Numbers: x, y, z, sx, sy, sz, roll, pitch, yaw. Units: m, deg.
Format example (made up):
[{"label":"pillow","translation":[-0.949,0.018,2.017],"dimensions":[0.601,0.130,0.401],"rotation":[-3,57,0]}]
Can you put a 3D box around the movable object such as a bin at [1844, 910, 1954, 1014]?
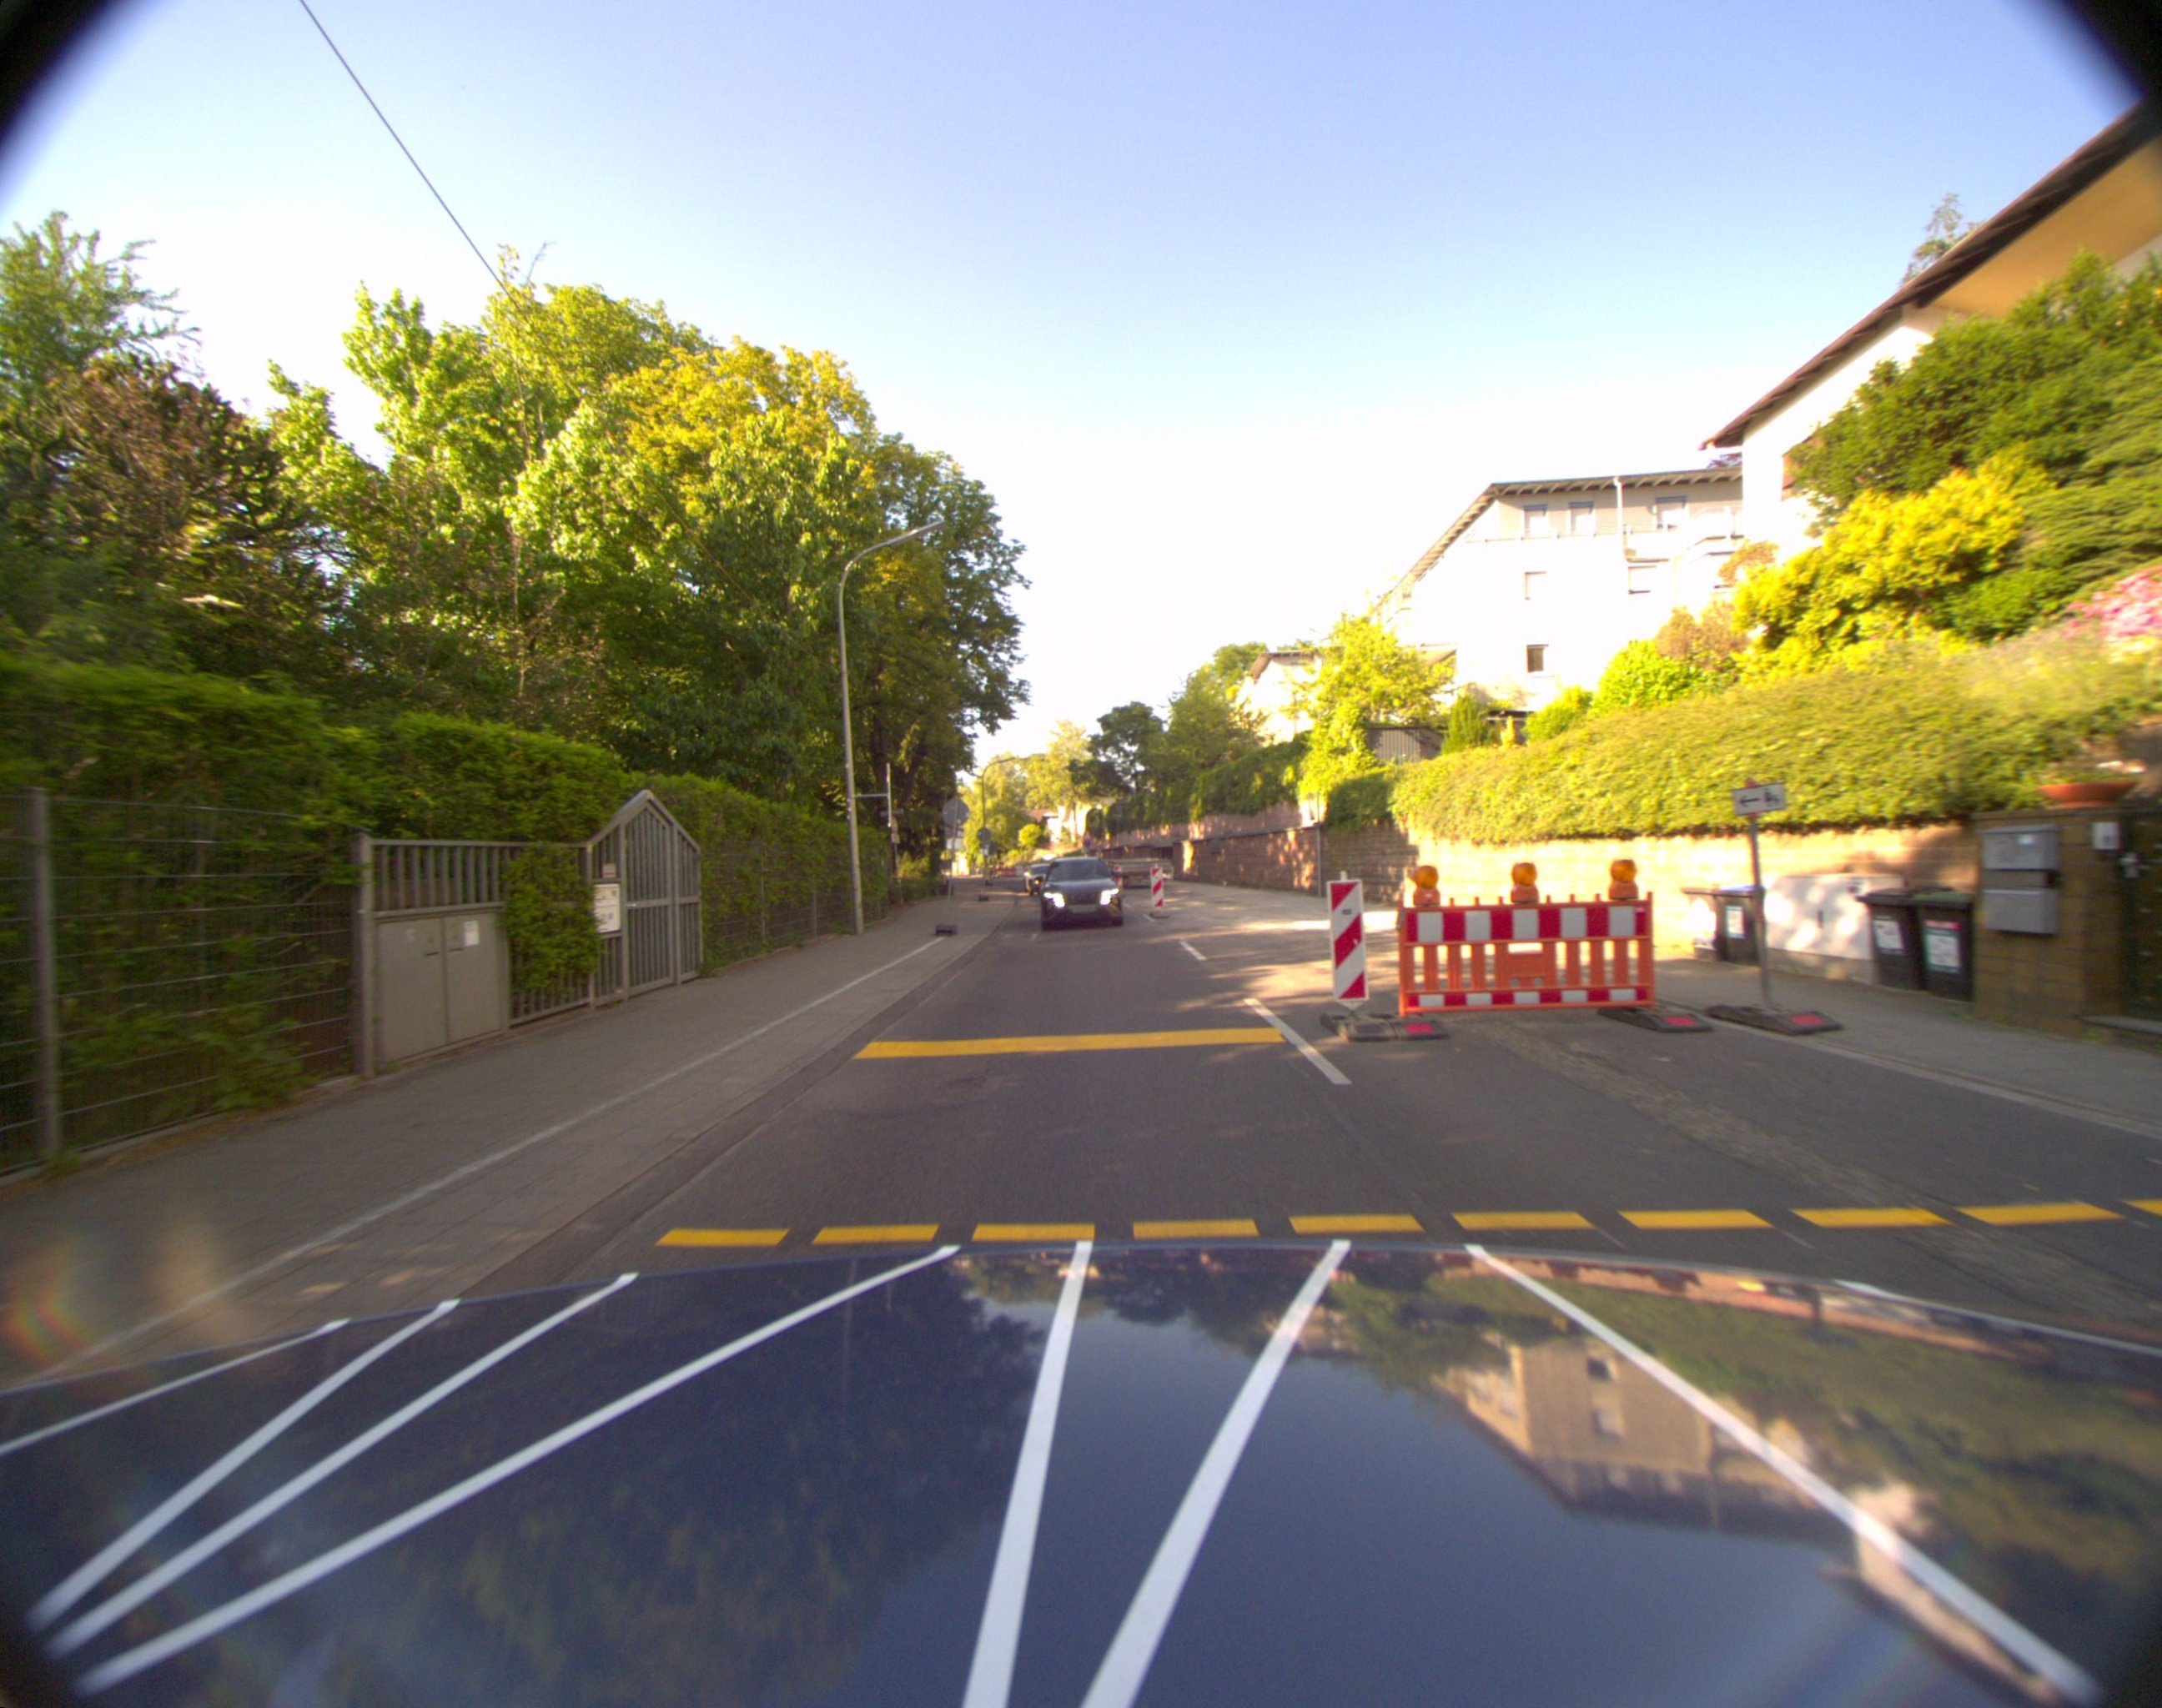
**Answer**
[{"label":"movable object such as a bin","translation":[7.573,0.984,7.050],"dimensions":[0.457,0.879,0.500],"rotation":[-2,0,2]}]

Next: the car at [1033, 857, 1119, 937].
[{"label":"car","translation":[-0.074,0.935,18.760],"dimensions":[1.788,1.639,4.474],"rotation":[-3,0,1]}]

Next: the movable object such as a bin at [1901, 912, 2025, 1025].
[{"label":"movable object such as a bin","translation":[7.552,0.966,6.524],"dimensions":[0.457,0.879,0.500],"rotation":[-2,0,2]}]

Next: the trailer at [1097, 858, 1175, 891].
[{"label":"trailer","translation":[2.780,1.021,40.505],"dimensions":[2.648,1.480,7.113],"rotation":[-2,0,-8]}]

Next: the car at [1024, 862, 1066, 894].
[{"label":"car","translation":[-1.852,1.158,38.355],"dimensions":[1.663,1.468,3.680],"rotation":[-2,0,-9]}]

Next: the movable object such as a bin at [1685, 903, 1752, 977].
[{"label":"movable object such as a bin","translation":[7.611,1.022,9.077],"dimensions":[0.455,0.829,0.392],"rotation":[-2,0,1]}]

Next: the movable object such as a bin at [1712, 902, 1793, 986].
[{"label":"movable object such as a bin","translation":[7.591,1.009,8.607],"dimensions":[0.457,0.879,0.500],"rotation":[-2,0,2]}]
